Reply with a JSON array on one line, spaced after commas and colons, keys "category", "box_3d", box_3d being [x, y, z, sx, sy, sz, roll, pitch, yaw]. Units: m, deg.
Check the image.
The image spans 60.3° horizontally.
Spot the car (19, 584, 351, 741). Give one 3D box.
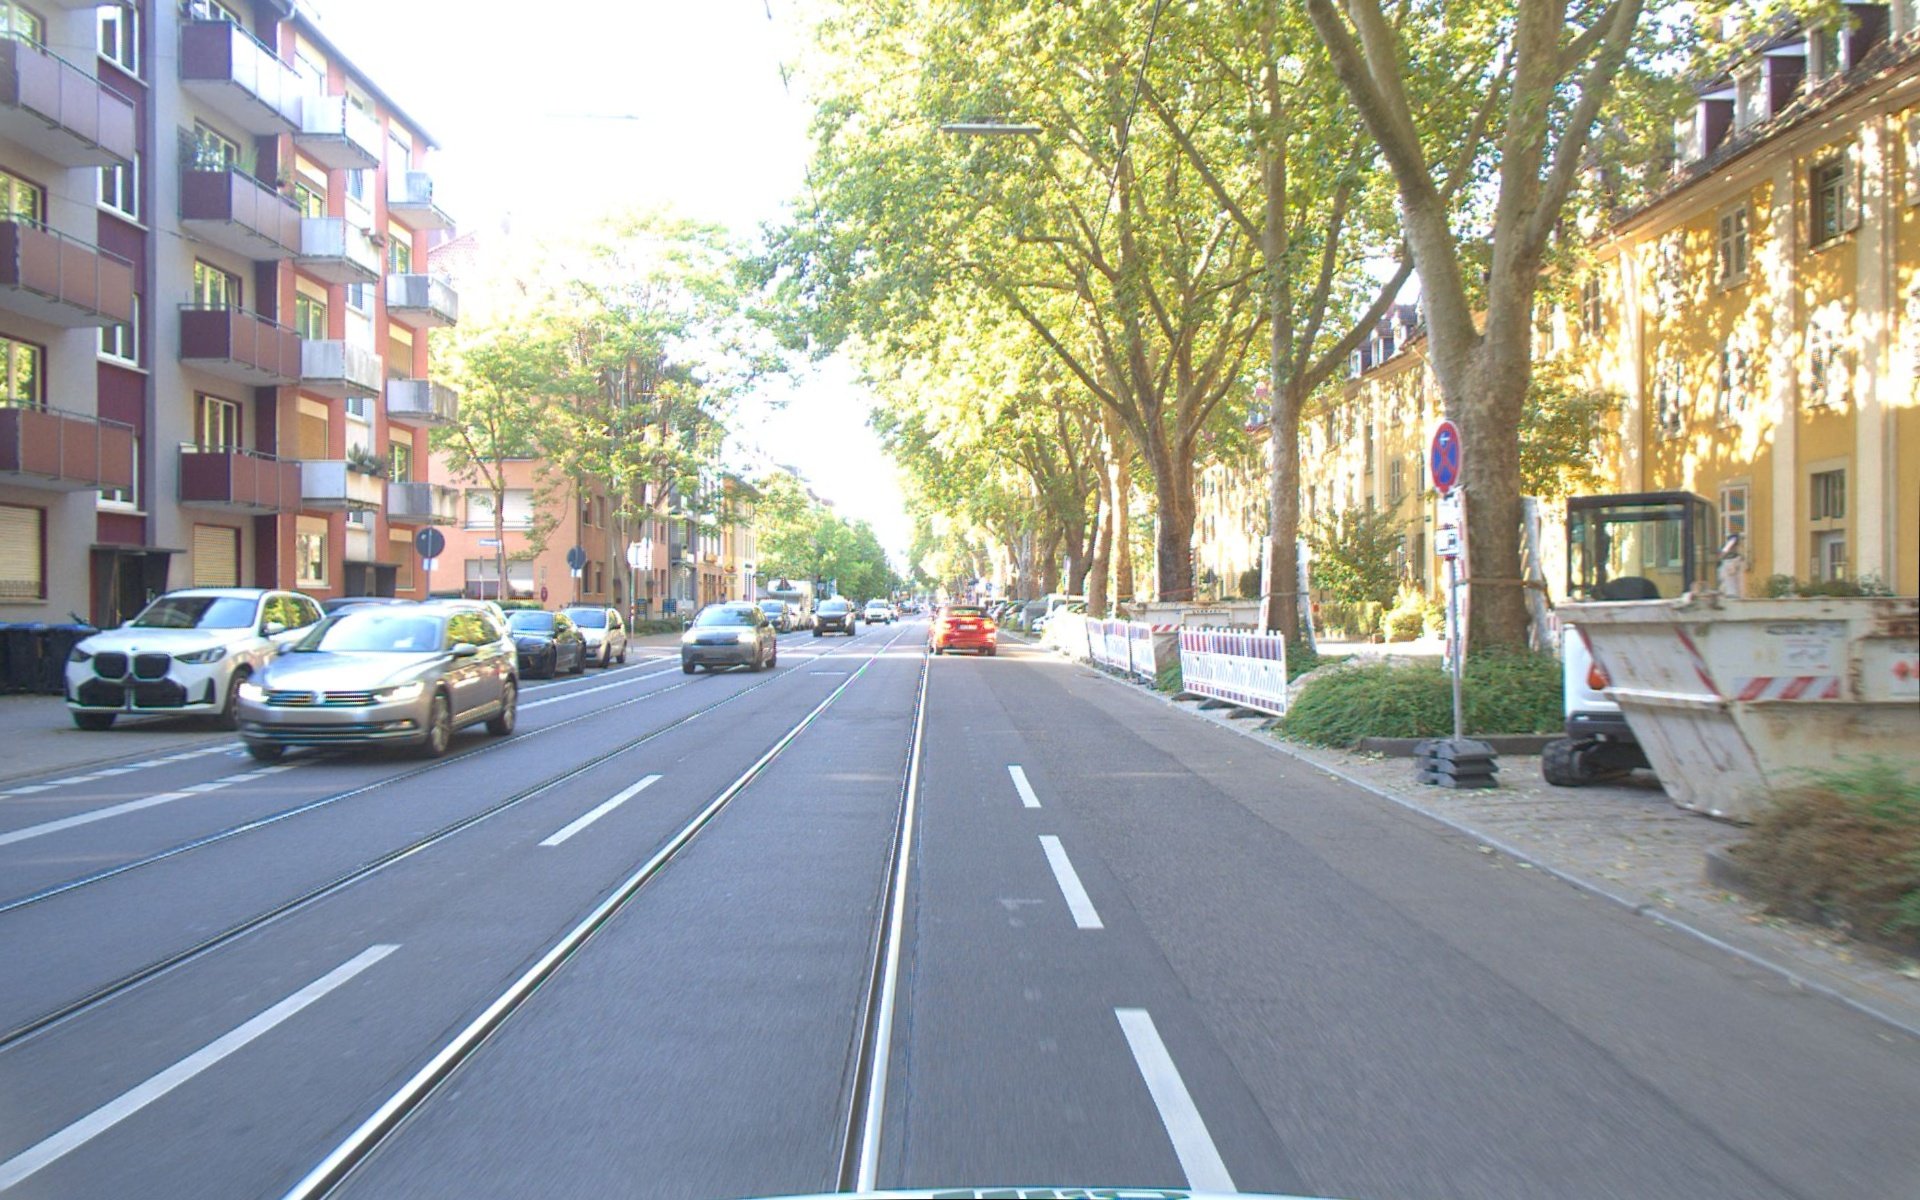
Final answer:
[{"category": "car", "box_3d": [-9.385, 0.712, 20.559, 1.913, 1.677, 4.879, 1, -1, -2]}]

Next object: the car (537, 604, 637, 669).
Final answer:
[{"category": "car", "box_3d": [-9.306, 0.886, 41.523, 1.690, 1.509, 3.928, 2, 0, -2]}]

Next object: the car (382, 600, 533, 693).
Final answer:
[{"category": "car", "box_3d": [-9.430, 0.833, 31.359, 1.783, 1.614, 4.003, 1, 0, -3]}]

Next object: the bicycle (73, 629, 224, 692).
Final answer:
[{"category": "bicycle", "box_3d": [-14.159, 1.050, 28.904, 2.244, 1.010, 0.698, 2, -1, -4]}]

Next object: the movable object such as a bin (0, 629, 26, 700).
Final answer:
[{"category": "movable object such as a bin", "box_3d": [-14.789, 0.994, 25.537, 0.451, 1.074, 0.492, 0, 0, -1]}]

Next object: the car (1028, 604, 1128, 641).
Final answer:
[{"category": "car", "box_3d": [5.080, 0.957, 71.426, 4.279, 1.569, 1.802, 0, 0, 3]}]

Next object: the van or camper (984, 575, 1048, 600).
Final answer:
[{"category": "van or camper", "box_3d": [4.980, -1.157, 148.355, 5.448, 2.048, 2.242, -2, 1, -6]}]

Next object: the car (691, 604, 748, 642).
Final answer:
[{"category": "car", "box_3d": [-10.118, 0.981, 69.883, 1.769, 1.504, 4.089, 2, -1, 0]}]

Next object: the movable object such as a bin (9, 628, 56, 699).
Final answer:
[{"category": "movable object such as a bin", "box_3d": [-14.333, 0.974, 25.574, 0.451, 1.074, 0.492, 0, 0, -1]}]

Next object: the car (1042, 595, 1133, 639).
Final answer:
[{"category": "car", "box_3d": [5.314, 0.725, 69.407, 3.764, 1.803, 1.917, 0, -1, 3]}]

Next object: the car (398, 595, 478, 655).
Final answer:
[{"category": "car", "box_3d": [-19.490, 0.935, 61.672, 1.972, 2.160, 4.677, 1, -1, -29]}]

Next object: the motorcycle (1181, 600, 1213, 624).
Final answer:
[{"category": "motorcycle", "box_3d": [14.582, 0.745, 101.877, 1.768, 1.385, 0.622, -3, 0, -4]}]

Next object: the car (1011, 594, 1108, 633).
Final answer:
[{"category": "car", "box_3d": [5.090, 0.690, 84.897, 4.740, 1.998, 2.063, 0, -1, -3]}]

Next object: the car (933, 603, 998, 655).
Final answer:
[{"category": "car", "box_3d": [0.144, 0.800, 47.740, 1.756, 1.413, 4.236, 1, 0, 0]}]

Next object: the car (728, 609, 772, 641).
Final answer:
[{"category": "car", "box_3d": [-10.183, 1.187, 80.501, 1.703, 1.425, 4.381, 2, 0, -2]}]

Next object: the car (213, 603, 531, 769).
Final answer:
[{"category": "car", "box_3d": [-5.883, 0.779, 17.201, 1.759, 1.471, 4.715, 0, 0, -2]}]

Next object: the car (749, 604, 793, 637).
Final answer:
[{"category": "car", "box_3d": [-10.274, 1.090, 90.118, 1.913, 1.716, 5.068, 2, 0, -2]}]

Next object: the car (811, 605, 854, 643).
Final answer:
[{"category": "car", "box_3d": [-5.957, 1.100, 77.040, 1.817, 1.628, 4.458, 2, 0, -6]}]

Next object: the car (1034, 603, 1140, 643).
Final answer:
[{"category": "car", "box_3d": [4.972, 0.909, 65.117, 4.006, 1.548, 1.915, 0, -1, -2]}]

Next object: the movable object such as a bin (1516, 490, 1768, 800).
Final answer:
[{"category": "movable object such as a bin", "box_3d": [5.896, 0.335, 14.118, 1.455, 2.309, 3.268, 0, 0, 32]}]

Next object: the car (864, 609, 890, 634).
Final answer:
[{"category": "car", "box_3d": [-6.396, 1.625, 127.453, 1.853, 1.864, 4.894, 0, 0, -1]}]

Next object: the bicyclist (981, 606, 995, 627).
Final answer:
[{"category": "bicyclist", "box_3d": [2.362, 1.398, 140.653, 1.027, 1.735, 1.055, 0, -1, -10]}]

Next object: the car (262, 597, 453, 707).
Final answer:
[{"category": "car", "box_3d": [-9.390, 0.776, 26.076, 1.592, 1.599, 3.781, 0, -1, 0]}]

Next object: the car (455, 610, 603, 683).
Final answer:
[{"category": "car", "box_3d": [-9.371, 0.969, 36.385, 1.912, 1.419, 4.862, 2, 0, 0]}]

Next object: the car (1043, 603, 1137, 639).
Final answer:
[{"category": "car", "box_3d": [5.286, 0.855, 67.443, 3.764, 1.458, 1.852, 0, 0, 3]}]

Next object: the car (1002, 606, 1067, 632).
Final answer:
[{"category": "car", "box_3d": [4.379, 1.114, 97.689, 3.760, 1.536, 1.710, 0, -1, -1]}]

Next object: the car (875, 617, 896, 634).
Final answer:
[{"category": "car", "box_3d": [-6.855, 2.314, 152.760, 1.740, 1.483, 4.201, -1, 0, -1]}]

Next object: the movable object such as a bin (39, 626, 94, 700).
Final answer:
[{"category": "movable object such as a bin", "box_3d": [-13.825, 0.970, 25.602, 0.567, 1.119, 0.498, 0, 0, -1]}]

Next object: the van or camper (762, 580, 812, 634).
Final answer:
[{"category": "van or camper", "box_3d": [-10.644, 0.437, 102.373, 2.290, 3.094, 6.396, 3, 0, 0]}]

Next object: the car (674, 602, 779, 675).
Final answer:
[{"category": "car", "box_3d": [-5.132, 0.813, 36.828, 1.759, 1.471, 4.052, -1, 0, -1]}]

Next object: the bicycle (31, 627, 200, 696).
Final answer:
[{"category": "bicycle", "box_3d": [-14.145, 1.023, 27.754, 2.402, 1.081, 0.698, 2, -1, -4]}]

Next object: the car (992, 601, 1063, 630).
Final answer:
[{"category": "car", "box_3d": [4.262, 0.981, 104.146, 4.402, 1.630, 2.028, -2, -1, 3]}]
